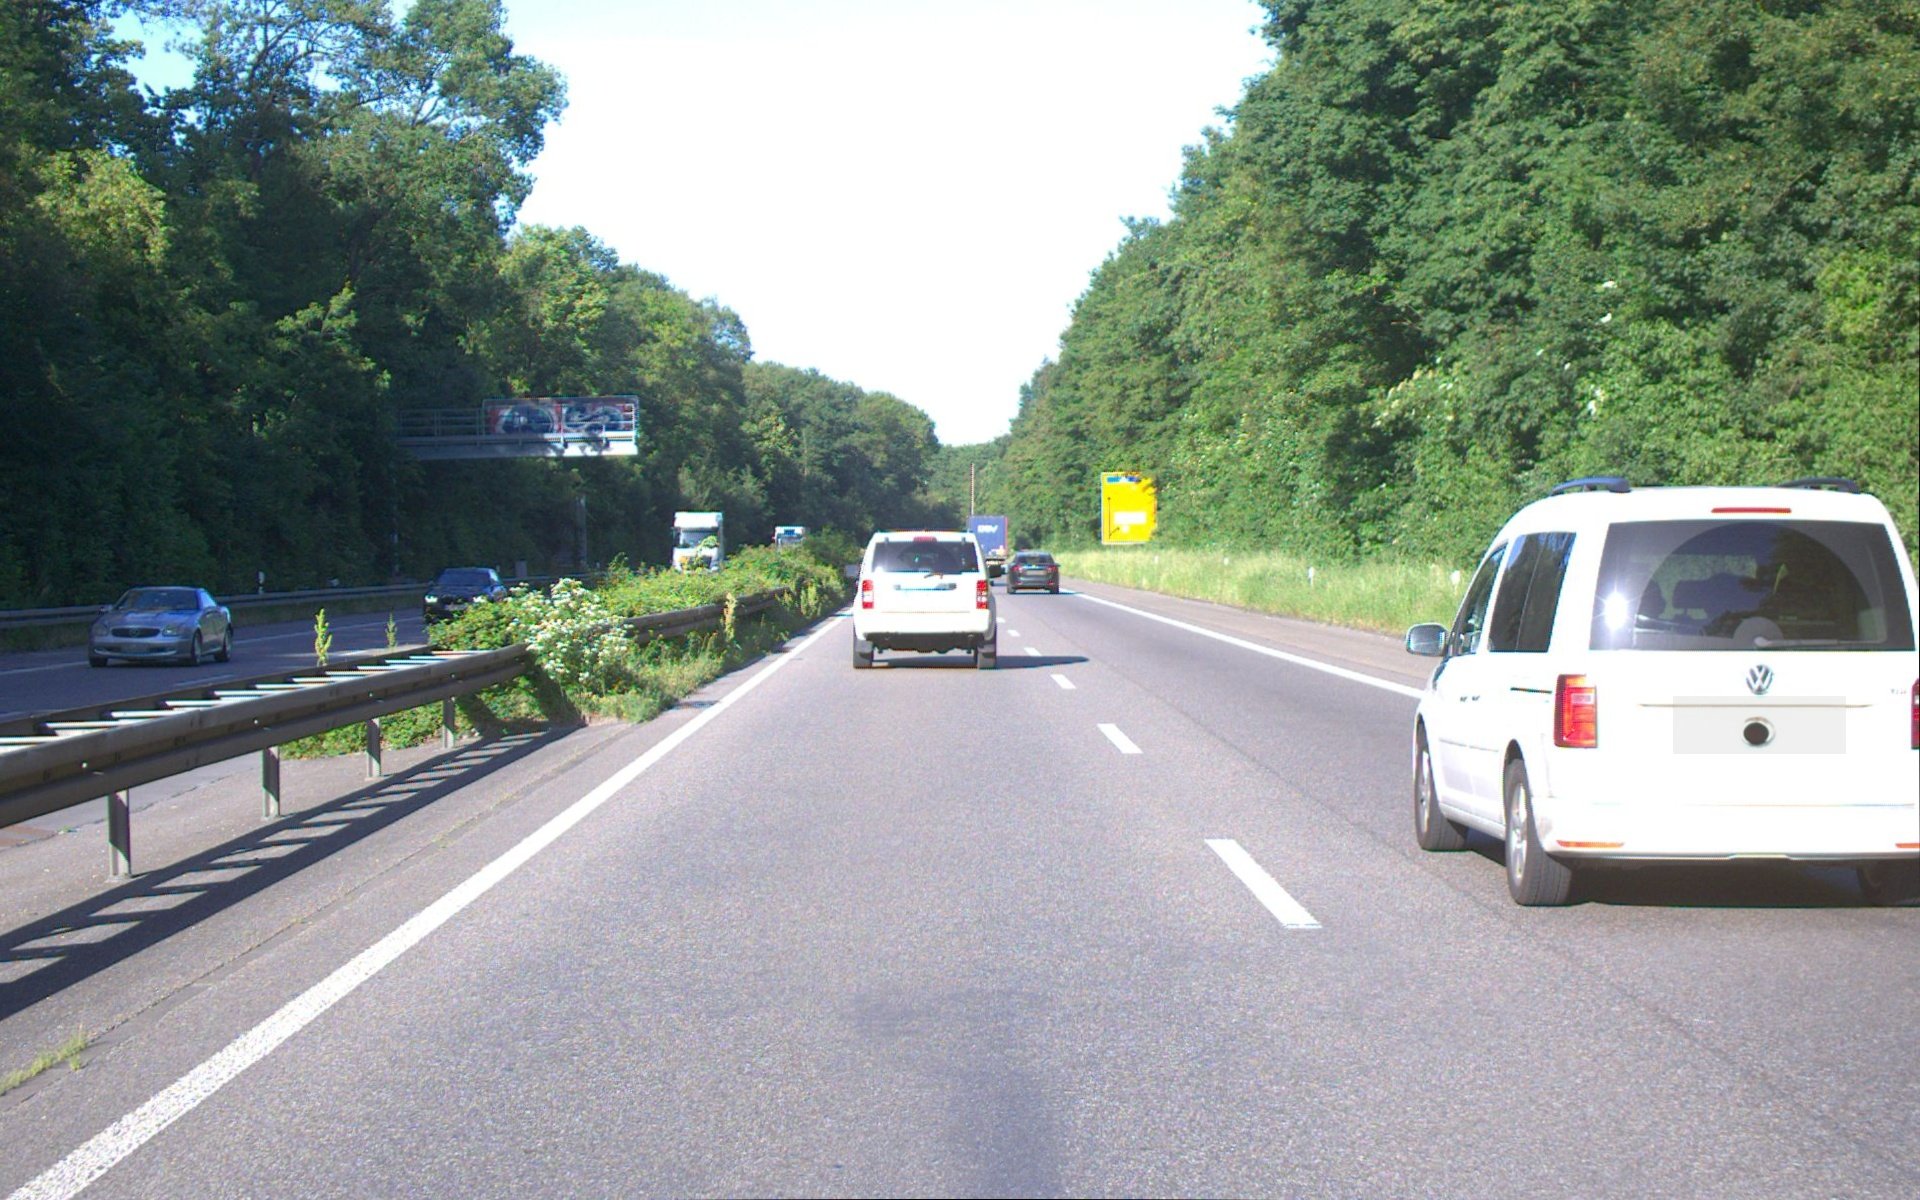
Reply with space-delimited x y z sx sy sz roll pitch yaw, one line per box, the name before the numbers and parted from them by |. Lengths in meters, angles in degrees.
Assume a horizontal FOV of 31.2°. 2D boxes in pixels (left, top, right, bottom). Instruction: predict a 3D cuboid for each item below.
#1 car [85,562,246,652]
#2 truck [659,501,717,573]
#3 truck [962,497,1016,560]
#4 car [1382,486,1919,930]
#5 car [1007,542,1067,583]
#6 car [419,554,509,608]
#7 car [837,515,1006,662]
car | -12.973 0.084 56.334 1.718 1.352 4.229 -1 1 -1
truck | -14.590 -3.384 184.703 2.761 3.699 7.858 -1 1 -2
truck | 1.941 -4.880 235.134 3.496 4.158 8.862 -1 1 -1
car | 3.208 0.388 15.935 1.863 1.764 4.470 0 1 -1
car | 2.735 -1.348 122.630 1.993 1.393 4.000 1 1 -1
car | -12.747 -0.502 88.479 1.718 1.352 3.946 0 0 0
car | -0.545 -0.180 44.930 2.085 1.822 4.001 0 1 -2
